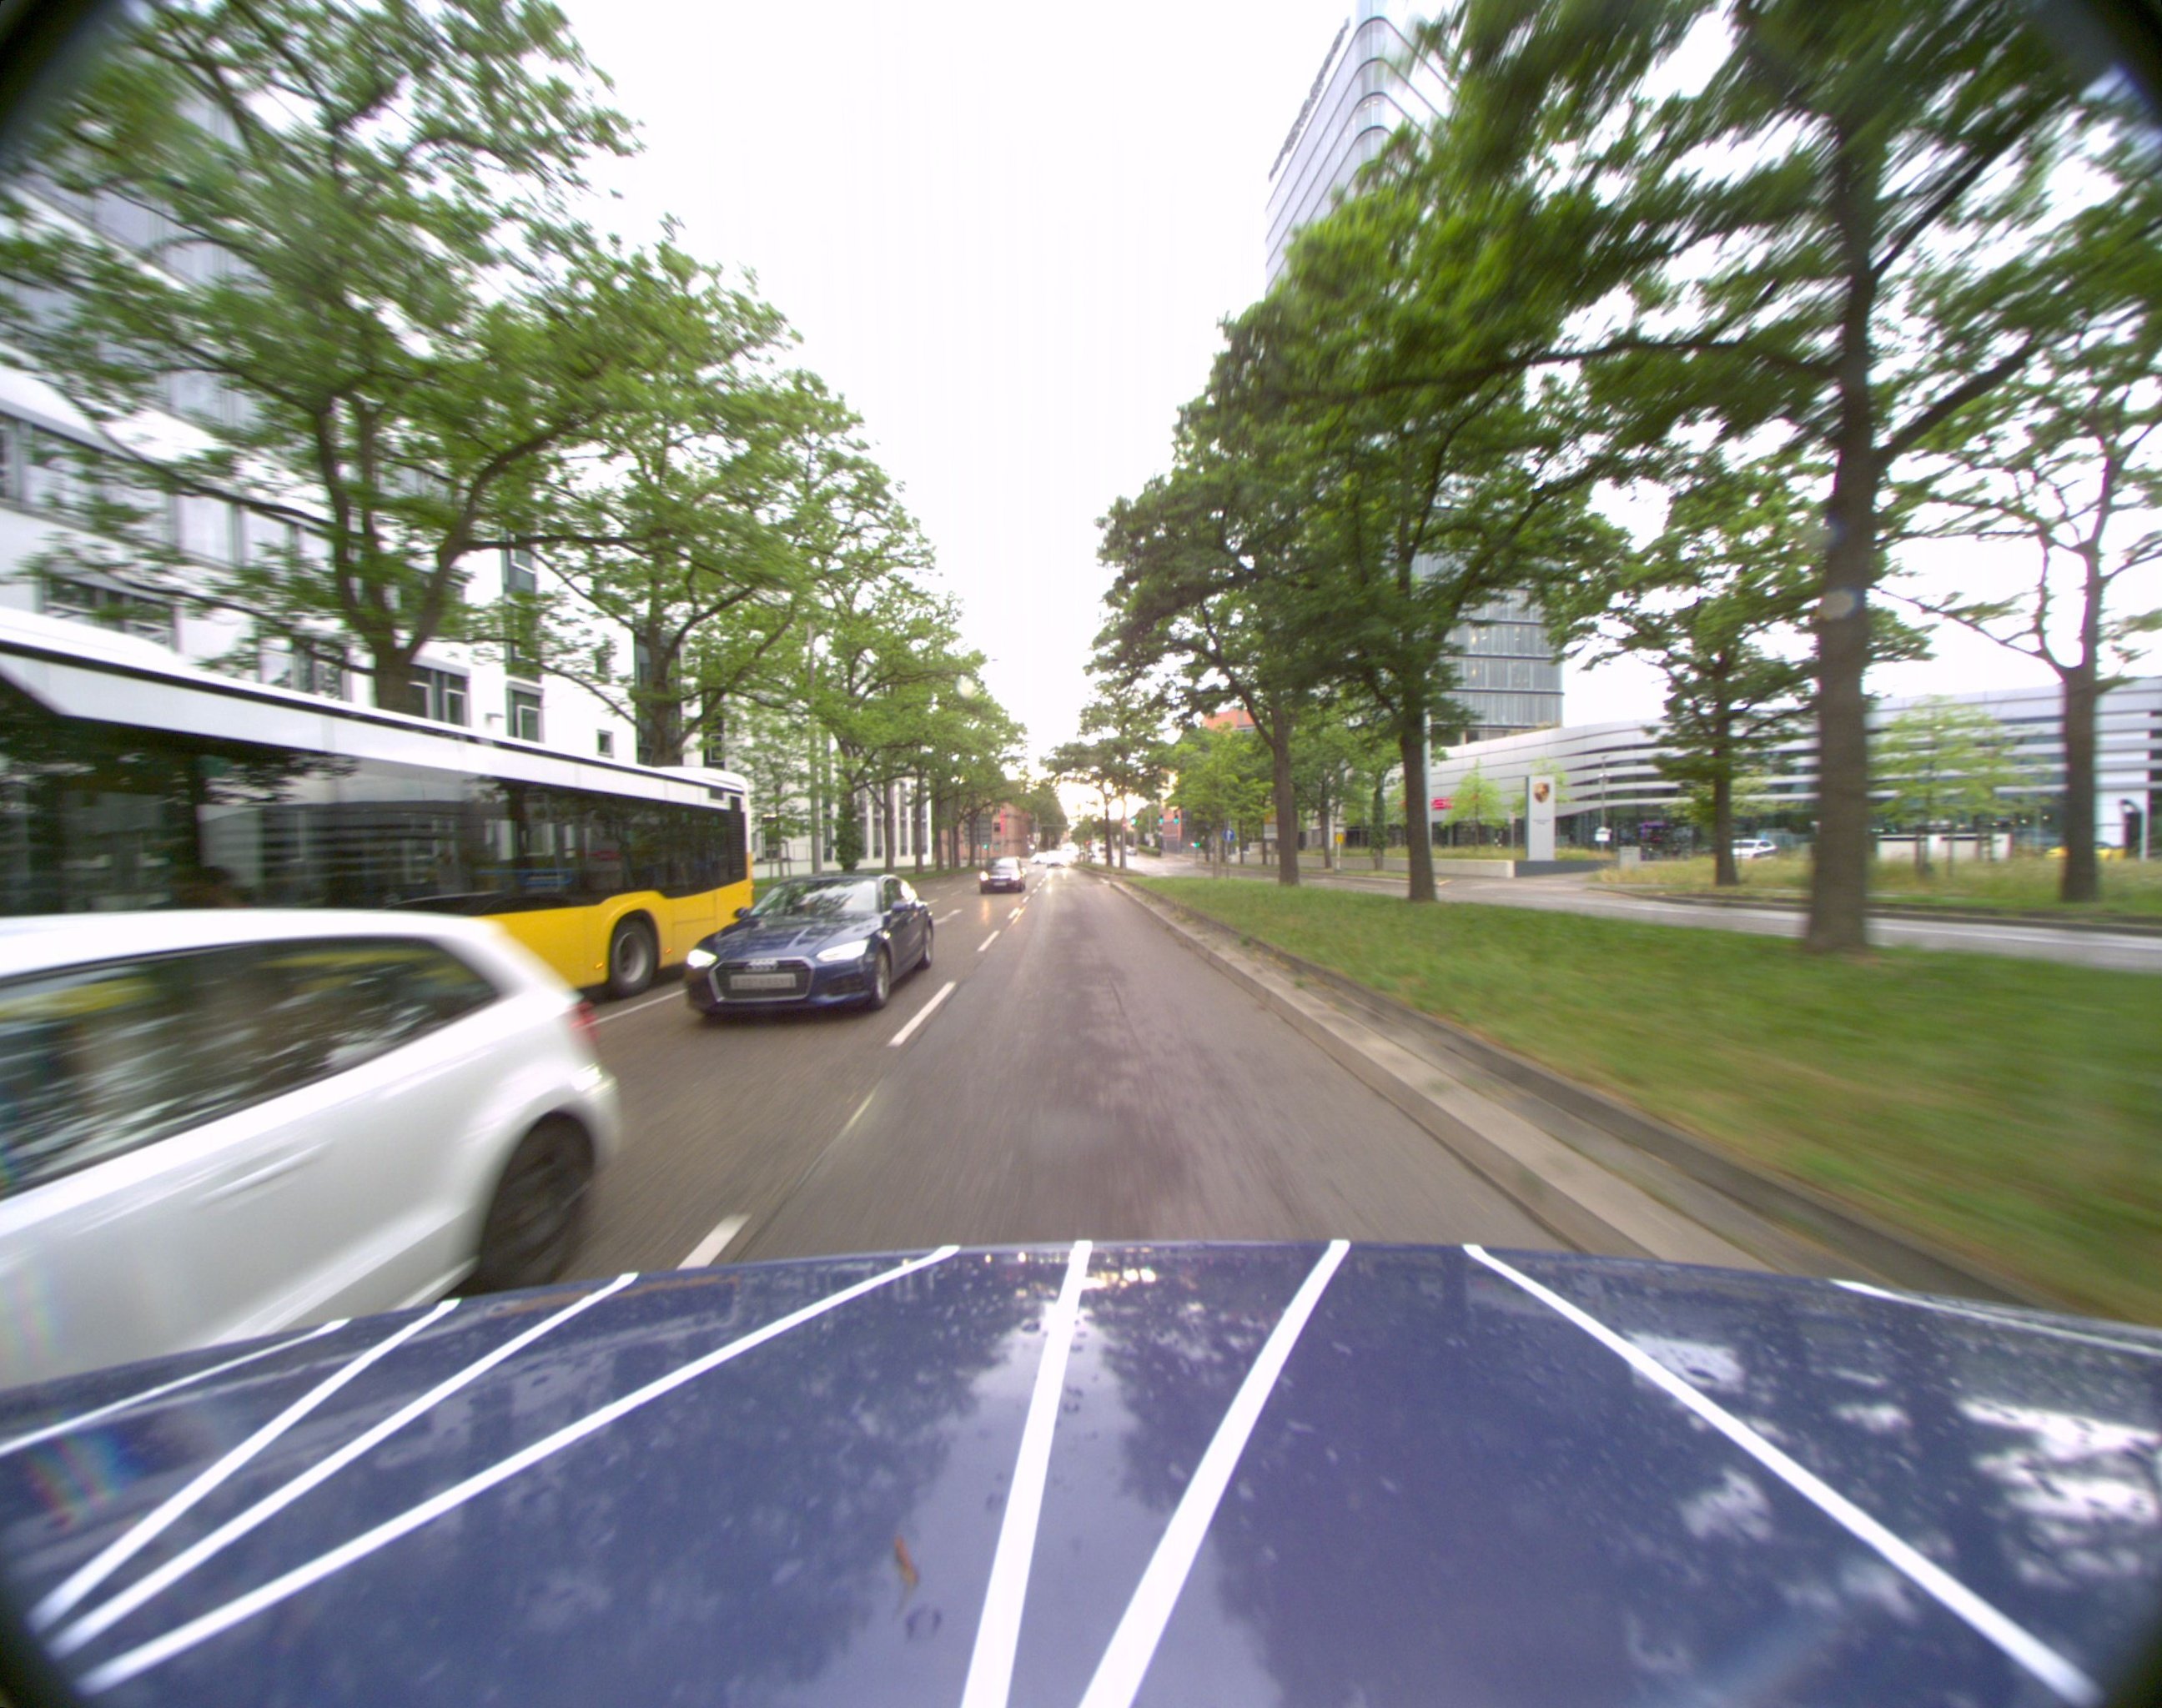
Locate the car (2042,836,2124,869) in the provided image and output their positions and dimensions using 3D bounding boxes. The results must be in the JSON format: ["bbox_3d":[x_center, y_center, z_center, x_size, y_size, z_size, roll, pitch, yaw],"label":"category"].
[{"bbox_3d":[48.868,-0.089,37.053,4.004,1.316,1.617,-4,1,-26],"label":"car"}]

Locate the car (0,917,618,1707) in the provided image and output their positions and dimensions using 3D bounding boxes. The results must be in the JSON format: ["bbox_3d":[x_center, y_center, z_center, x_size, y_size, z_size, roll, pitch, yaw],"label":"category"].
[{"bbox_3d":[-2.840,1.054,1.207,1.745,1.424,3.811,-3,1,1],"label":"car"}]

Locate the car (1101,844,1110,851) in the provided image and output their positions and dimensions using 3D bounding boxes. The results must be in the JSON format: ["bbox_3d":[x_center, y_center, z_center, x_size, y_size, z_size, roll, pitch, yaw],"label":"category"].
[{"bbox_3d":[5.806,-1.473,180.185,1.846,1.581,4.172,-1,1,-3],"label":"car"}]

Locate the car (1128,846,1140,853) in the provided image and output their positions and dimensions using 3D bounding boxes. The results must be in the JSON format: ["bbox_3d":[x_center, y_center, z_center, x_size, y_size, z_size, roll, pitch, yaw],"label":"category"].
[{"bbox_3d":[10.979,-0.931,156.596,1.894,1.445,3.998,-3,1,-3],"label":"car"}]

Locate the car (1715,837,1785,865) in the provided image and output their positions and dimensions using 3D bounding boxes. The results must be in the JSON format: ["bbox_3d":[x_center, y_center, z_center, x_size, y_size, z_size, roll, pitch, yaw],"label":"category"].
[{"bbox_3d":[39.123,-0.175,44.430,4.005,1.405,1.775,-4,1,-28],"label":"car"}]

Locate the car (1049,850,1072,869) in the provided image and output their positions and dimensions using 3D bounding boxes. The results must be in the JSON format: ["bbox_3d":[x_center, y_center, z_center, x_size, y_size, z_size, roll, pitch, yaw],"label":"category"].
[{"bbox_3d":[-1.973,0.481,73.084,1.998,1.707,4.000,-1,0,1],"label":"car"}]

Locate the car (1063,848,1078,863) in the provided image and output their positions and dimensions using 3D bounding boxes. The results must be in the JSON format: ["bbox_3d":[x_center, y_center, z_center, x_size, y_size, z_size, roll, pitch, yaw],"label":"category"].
[{"bbox_3d":[-1.512,0.204,107.115,1.931,2.002,4.000,-1,0,1],"label":"car"}]

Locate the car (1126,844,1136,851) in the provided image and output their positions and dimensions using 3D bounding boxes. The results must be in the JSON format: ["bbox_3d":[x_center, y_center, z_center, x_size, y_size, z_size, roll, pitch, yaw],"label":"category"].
[{"bbox_3d":[11.425,-1.575,174.073,1.783,1.445,3.998,-3,1,-3],"label":"car"}]

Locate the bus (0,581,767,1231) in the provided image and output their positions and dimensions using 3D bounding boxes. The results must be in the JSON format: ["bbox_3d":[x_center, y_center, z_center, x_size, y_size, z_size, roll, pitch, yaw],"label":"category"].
[{"bbox_3d":[-6.568,0.299,6.228,2.734,3.133,12.145,-3,0,0],"label":"bus"}]

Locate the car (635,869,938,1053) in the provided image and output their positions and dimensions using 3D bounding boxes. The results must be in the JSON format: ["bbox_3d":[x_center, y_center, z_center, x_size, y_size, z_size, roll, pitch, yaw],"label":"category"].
[{"bbox_3d":[-2.978,0.978,8.824,1.878,1.346,4.330,-3,1,-2],"label":"car"}]

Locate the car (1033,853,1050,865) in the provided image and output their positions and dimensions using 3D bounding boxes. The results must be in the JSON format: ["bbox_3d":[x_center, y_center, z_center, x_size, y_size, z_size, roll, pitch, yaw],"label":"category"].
[{"bbox_3d":[-5.396,0.631,103.229,1.998,1.576,4.000,-1,0,1],"label":"car"}]

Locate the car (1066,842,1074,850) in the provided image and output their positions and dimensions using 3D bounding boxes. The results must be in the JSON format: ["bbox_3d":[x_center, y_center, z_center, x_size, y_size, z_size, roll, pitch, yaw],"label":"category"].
[{"bbox_3d":[-2.802,-2.059,196.650,1.998,1.772,3.999,-2,0,0],"label":"car"}]

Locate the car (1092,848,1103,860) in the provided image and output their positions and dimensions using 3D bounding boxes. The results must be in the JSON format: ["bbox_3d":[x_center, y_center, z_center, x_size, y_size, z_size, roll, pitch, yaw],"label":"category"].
[{"bbox_3d":[2.948,0.009,136.008,1.998,2.002,4.000,-1,0,1],"label":"car"}]

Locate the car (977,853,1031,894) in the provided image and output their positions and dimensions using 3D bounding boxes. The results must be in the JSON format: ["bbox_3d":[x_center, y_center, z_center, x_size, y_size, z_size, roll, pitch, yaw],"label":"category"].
[{"bbox_3d":[-3.098,0.752,31.289,1.625,1.426,3.551,-3,1,3],"label":"car"}]
